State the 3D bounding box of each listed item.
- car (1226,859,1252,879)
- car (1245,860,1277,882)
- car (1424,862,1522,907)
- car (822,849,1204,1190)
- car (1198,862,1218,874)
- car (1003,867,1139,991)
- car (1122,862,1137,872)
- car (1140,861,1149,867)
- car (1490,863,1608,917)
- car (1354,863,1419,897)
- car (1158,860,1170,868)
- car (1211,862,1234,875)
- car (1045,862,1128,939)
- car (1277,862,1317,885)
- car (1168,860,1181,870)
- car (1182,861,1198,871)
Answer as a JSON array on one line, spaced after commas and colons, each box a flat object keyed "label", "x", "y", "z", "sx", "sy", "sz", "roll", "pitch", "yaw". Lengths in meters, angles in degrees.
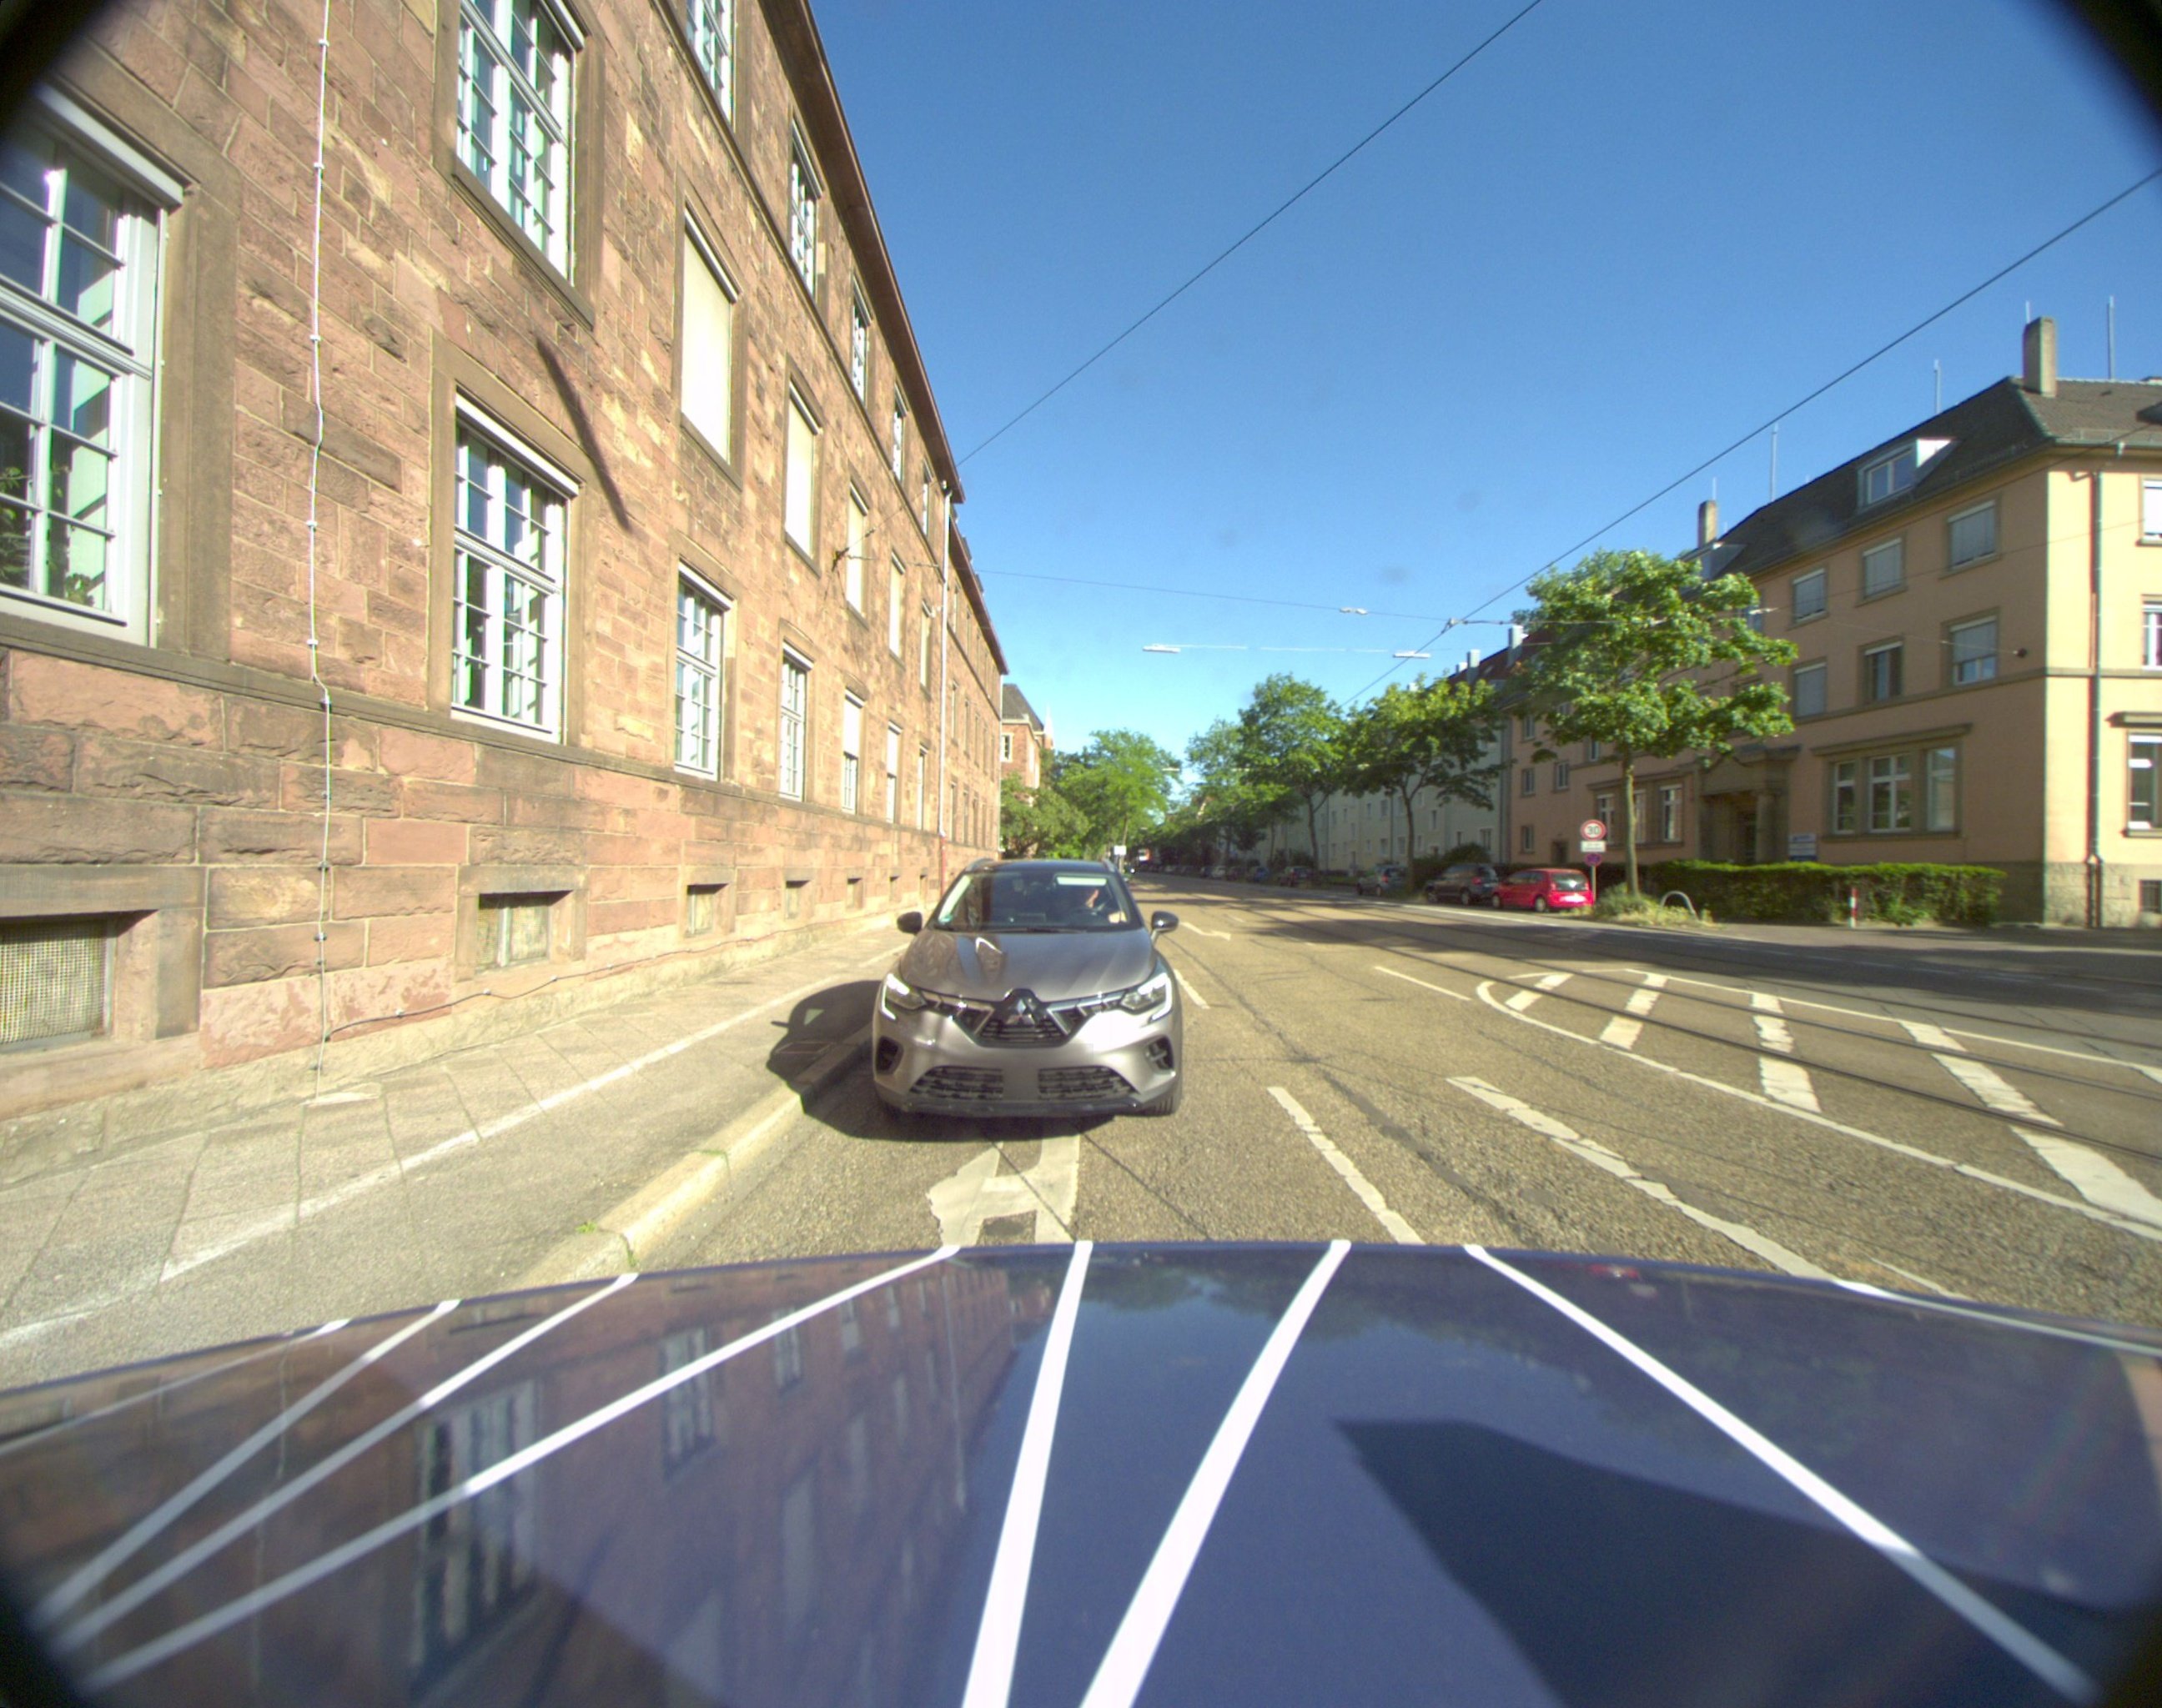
[{"label": "car", "x": 15.894, "y": 1.530, "z": 76.579, "sx": 1.816, "sy": 1.929, "sz": 3.630, "roll": 1, "pitch": 0, "yaw": -2}, {"label": "car", "x": 15.965, "y": 1.473, "z": 67.501, "sx": 1.816, "sy": 1.814, "sz": 3.795, "roll": 1, "pitch": 0, "yaw": -2}, {"label": "car", "x": 15.640, "y": 1.172, "z": 30.554, "sx": 1.816, "sy": 1.648, "sz": 3.819, "roll": 1, "pitch": 0, "yaw": -3}, {"label": "car", "x": -0.365, "y": 0.792, "z": 5.503, "sx": 1.796, "sy": 1.595, "sz": 3.799, "roll": 0, "pitch": 0, "yaw": -2}, {"label": "car", "x": 15.837, "y": 1.756, "z": 94.864, "sx": 1.816, "sy": 1.411, "sz": 3.630, "roll": 1, "pitch": 0, "yaw": -2}, {"label": "car", "x": -0.183, "y": 1.033, "z": 12.049, "sx": 1.796, "sy": 1.595, "sz": 3.799, "roll": 0, "pitch": 0, "yaw": -2}, {"label": "car", "x": 7.241, "y": 1.928, "z": 113.106, "sx": 1.912, "sy": 1.510, "sz": 4.000, "roll": 1, "pitch": 0, "yaw": -1}, {"label": "car", "x": 16.052, "y": 2.480, "z": 191.309, "sx": 1.816, "sy": 1.411, "sz": 3.630, "roll": 1, "pitch": 0, "yaw": -2}, {"label": "car", "x": 15.851, "y": 1.168, "z": 25.946, "sx": 1.816, "sy": 1.696, "sz": 3.374, "roll": 1, "pitch": 0, "yaw": -3}, {"label": "car", "x": 15.728, "y": 1.302, "z": 39.364, "sx": 1.816, "sy": 1.648, "sz": 3.877, "roll": 1, "pitch": 0, "yaw": 1}, {"label": "car", "x": 15.966, "y": 1.849, "z": 146.883, "sx": 1.816, "sy": 1.514, "sz": 3.630, "roll": 1, "pitch": 0, "yaw": -2}, {"label": "car", "x": 16.022, "y": 1.668, "z": 85.937, "sx": 1.816, "sy": 1.411, "sz": 3.630, "roll": 1, "pitch": 0, "yaw": -2}, {"label": "car", "x": 0.070, "y": 1.016, "z": 18.496, "sx": 1.796, "sy": 1.638, "sz": 4.083, "roll": 0, "pitch": 0, "yaw": -2}, {"label": "car", "x": 15.785, "y": 1.429, "z": 55.608, "sx": 1.816, "sy": 1.589, "sz": 3.630, "roll": 1, "pitch": 0, "yaw": -2}, {"label": "car", "x": 16.577, "y": 1.940, "z": 135.245, "sx": 1.816, "sy": 1.768, "sz": 3.630, "roll": 1, "pitch": 0, "yaw": -2}, {"label": "car", "x": 16.031, "y": 1.742, "z": 111.697, "sx": 1.816, "sy": 1.411, "sz": 3.630, "roll": 1, "pitch": 0, "yaw": -2}]
